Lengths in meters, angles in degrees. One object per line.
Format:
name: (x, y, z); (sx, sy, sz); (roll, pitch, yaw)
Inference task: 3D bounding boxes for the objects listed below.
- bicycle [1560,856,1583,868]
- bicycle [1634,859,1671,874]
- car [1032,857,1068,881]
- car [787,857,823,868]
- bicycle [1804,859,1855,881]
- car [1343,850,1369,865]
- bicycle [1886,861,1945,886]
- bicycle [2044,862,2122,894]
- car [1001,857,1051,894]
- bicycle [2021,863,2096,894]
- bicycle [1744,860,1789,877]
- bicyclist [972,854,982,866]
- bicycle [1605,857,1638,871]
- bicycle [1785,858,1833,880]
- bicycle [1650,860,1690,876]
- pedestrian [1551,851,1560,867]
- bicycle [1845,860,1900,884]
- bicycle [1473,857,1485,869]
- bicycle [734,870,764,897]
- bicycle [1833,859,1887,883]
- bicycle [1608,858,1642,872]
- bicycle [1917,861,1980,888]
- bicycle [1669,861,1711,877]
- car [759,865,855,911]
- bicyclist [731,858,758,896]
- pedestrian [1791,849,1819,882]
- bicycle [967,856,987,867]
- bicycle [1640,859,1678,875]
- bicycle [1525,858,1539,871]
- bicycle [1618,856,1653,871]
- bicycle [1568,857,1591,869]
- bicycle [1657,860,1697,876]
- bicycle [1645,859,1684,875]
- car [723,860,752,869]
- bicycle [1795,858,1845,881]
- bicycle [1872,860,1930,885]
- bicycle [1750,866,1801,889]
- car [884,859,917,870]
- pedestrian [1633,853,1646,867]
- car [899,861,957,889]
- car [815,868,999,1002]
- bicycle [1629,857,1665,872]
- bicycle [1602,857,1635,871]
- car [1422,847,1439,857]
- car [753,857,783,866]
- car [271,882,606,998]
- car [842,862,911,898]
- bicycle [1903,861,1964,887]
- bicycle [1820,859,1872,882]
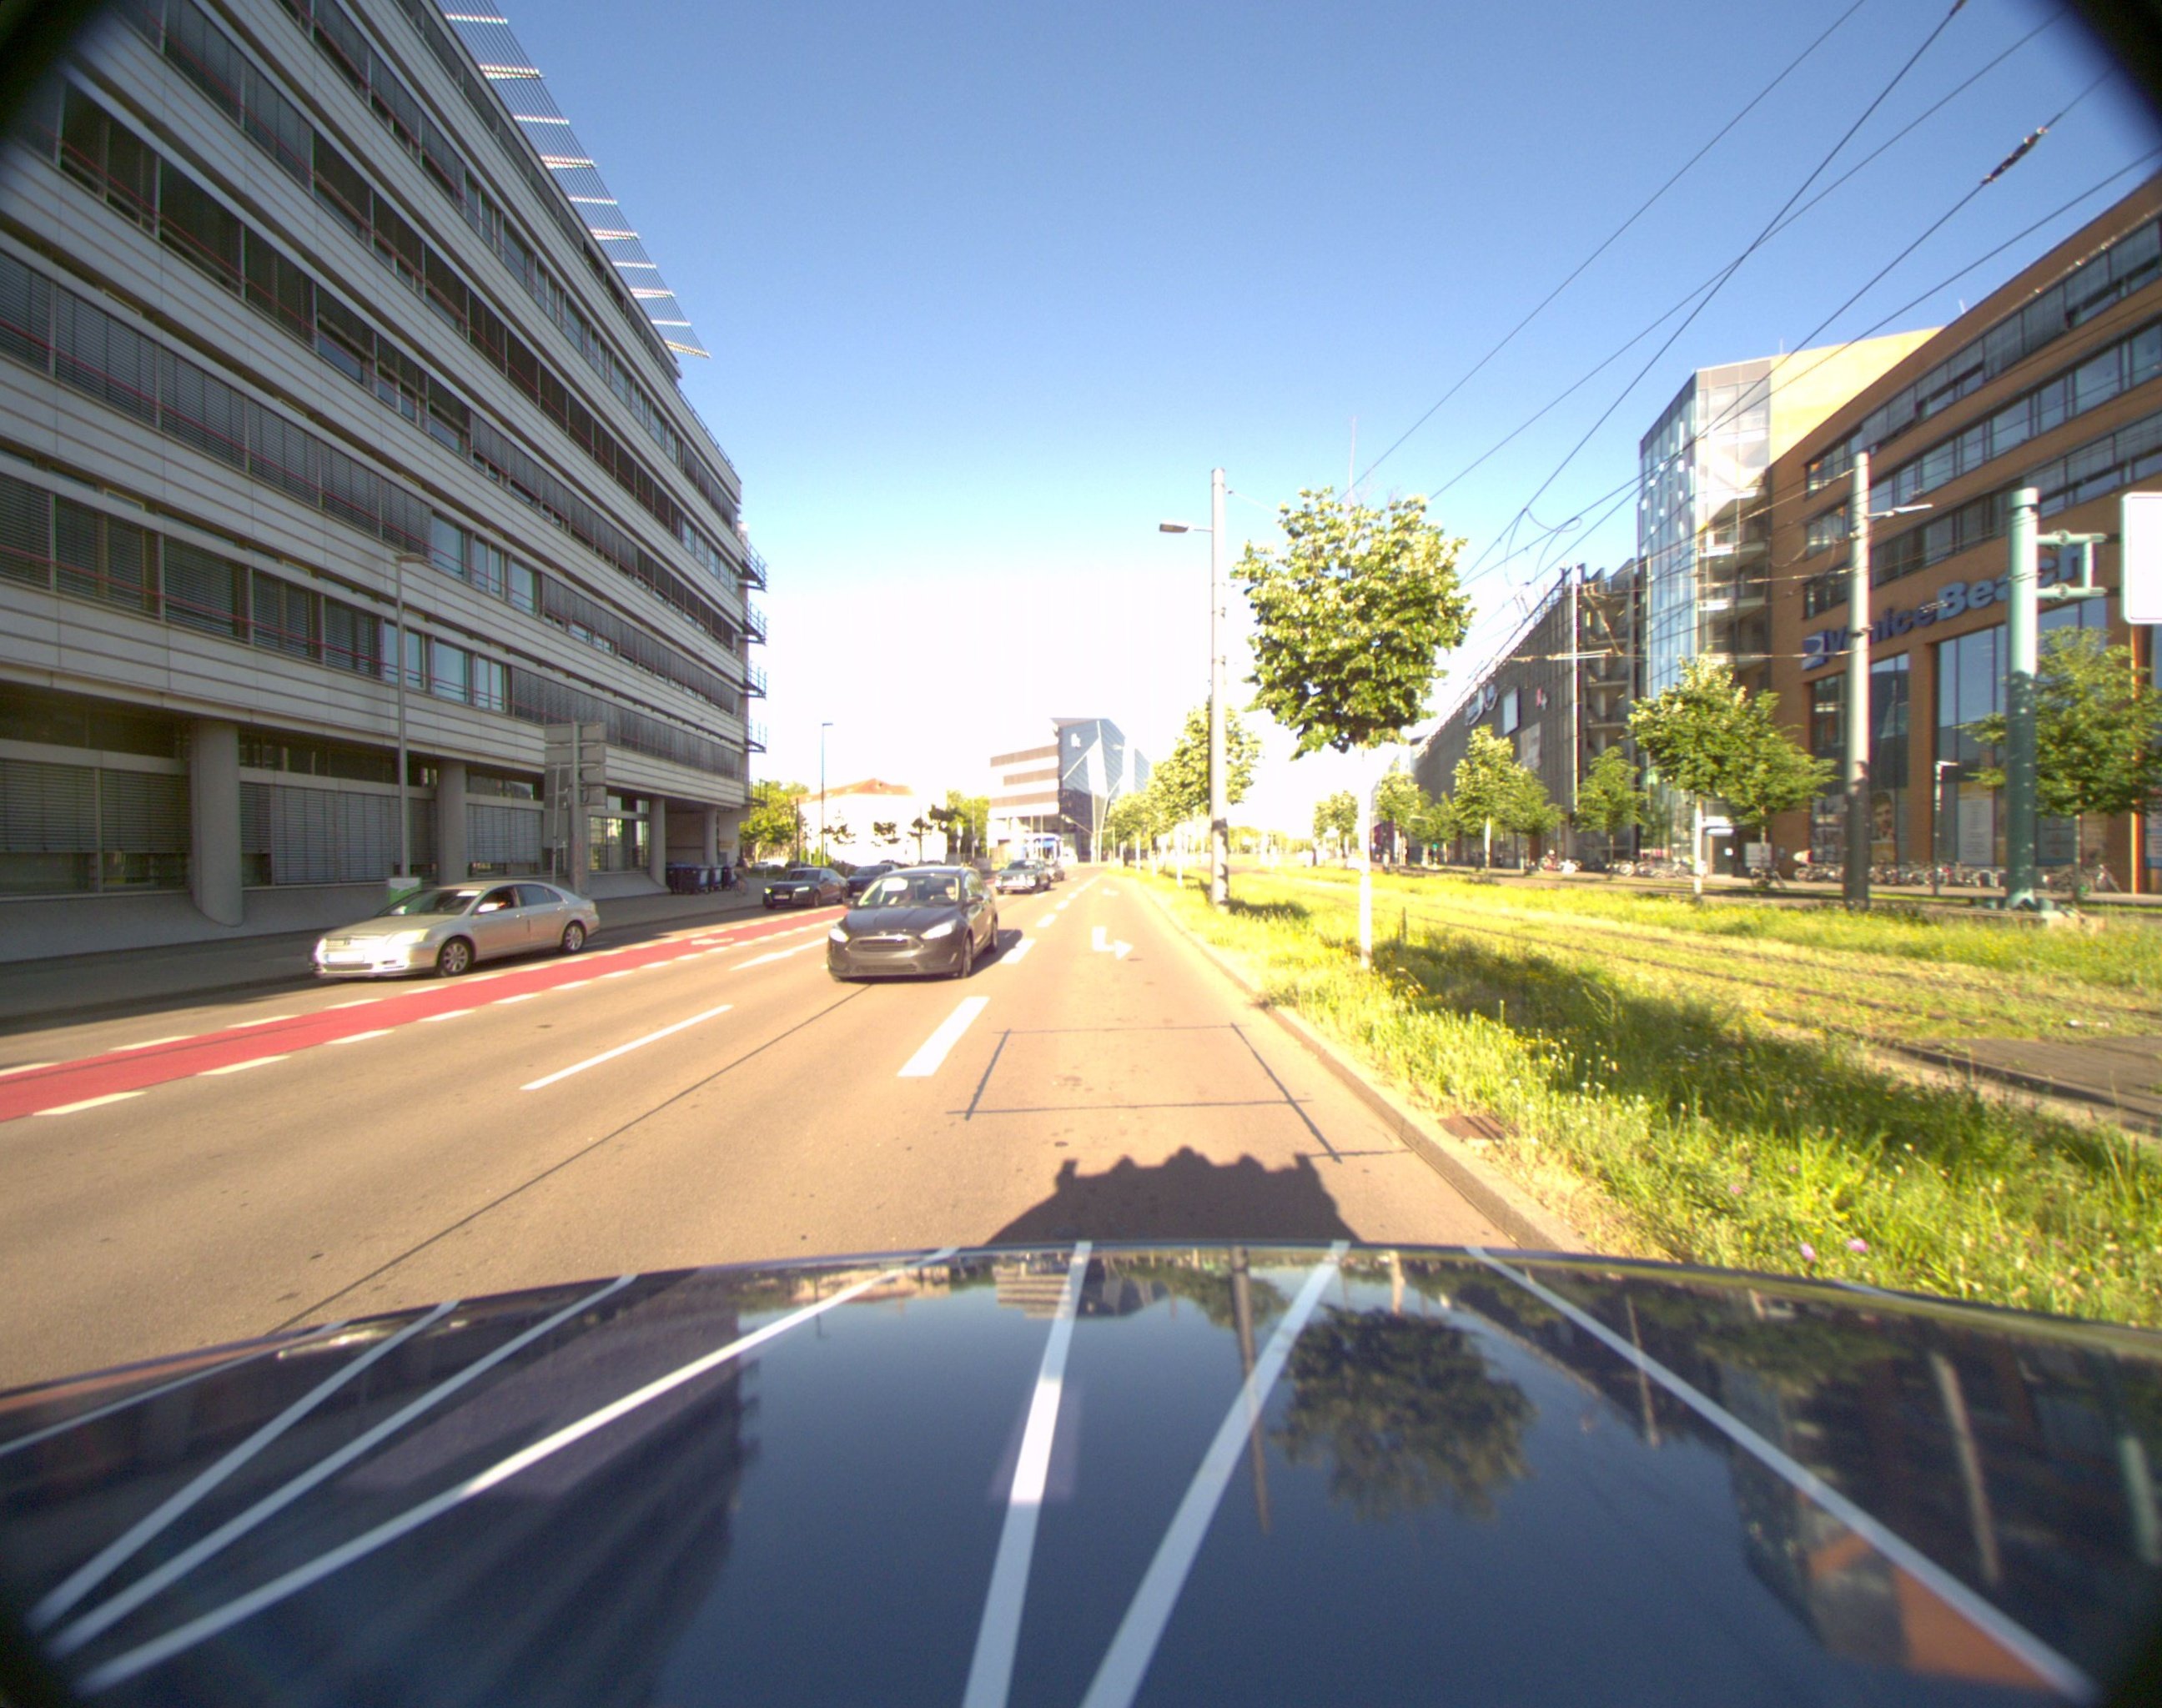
bicycle: (37.830, 0.641, 58.630); (1.398, 0.921, 0.462); (-1, 1, 17)
bicycle: (35.404, 0.779, 47.070); (1.768, 0.921, 0.565); (-1, 1, 17)
car: (-1.964, 0.936, 49.003); (1.619, 1.421, 3.769); (-2, 1, 7)
car: (-39.813, 1.201, 109.475); (4.516, 1.414, 2.002); (-1, 1, 17)
bicycle: (35.646, 0.755, 36.185); (1.769, 1.043, 0.491); (-1, 1, 8)
car: (25.776, 0.332, 71.378); (1.809, 1.320, 4.409); (0, 1, 13)
bicycle: (35.099, 0.809, 31.971); (1.769, 1.043, 0.491); (-1, 1, 8)
bicycle: (34.021, 0.822, 25.811); (1.769, 1.043, 0.491); (-1, 1, 8)
car: (-2.376, 0.924, 33.690); (1.749, 1.496, 3.881); (-1, 0, 3)
bicycle: (34.064, 0.848, 26.491); (1.769, 1.043, 0.491); (-1, 1, 8)
bicycle: (37.407, 0.802, 41.467); (1.768, 0.921, 0.565); (-1, 1, 17)
bicyclist: (-13.388, 0.789, 97.837); (1.006, 1.598, 0.880); (-1, 1, 14)
bicycle: (36.662, 0.697, 51.575); (1.768, 0.921, 0.491); (-1, 1, 17)
bicycle: (35.868, 0.737, 37.439); (1.769, 1.043, 0.491); (-1, 1, 8)
bicycle: (34.844, 0.816, 44.955); (1.768, 0.921, 0.565); (-1, 1, 17)
pedestrian: (38.342, 0.372, 61.450); (0.448, 1.282, 0.630); (-1, 1, 13)
bicycle: (35.375, 0.783, 33.953); (1.769, 1.043, 0.491); (-1, 1, 8)
bicycle: (31.533, 0.688, 60.244); (0.386, 0.918, 1.773); (-1, 1, 13)
bicycle: (-14.560, 1.273, 33.329); (0.505, 1.052, 1.702); (2, 1, 2)
bicycle: (35.499, 0.773, 34.646); (1.769, 1.043, 0.491); (-1, 1, 8)
bicycle: (36.473, 0.709, 50.936); (1.768, 0.921, 0.565); (-1, 1, 17)
bicycle: (34.926, 0.827, 30.590); (1.769, 1.043, 0.491); (-1, 1, 8)
bicycle: (34.507, 0.844, 43.076); (1.768, 0.921, 0.565); (-1, 1, 17)
car: (-9.773, 1.182, 27.451); (1.714, 1.432, 4.113); (-3, -1, 3)
bicyclist: (-14.676, 1.003, 33.134); (0.685, 1.609, 0.991); (-1, 1, 2)
pedestrian: (36.202, 0.571, 37.998); (0.746, 1.659, 0.676); (-1, 1, 7)
bicycle: (-13.373, 0.947, 97.821); (2.368, 1.304, 0.952); (-1, 1, 13)
bicycle: (35.239, 0.791, 46.348); (1.768, 0.921, 0.565); (-1, 1, 17)
bicycle: (32.615, 0.741, 54.964); (0.386, 0.863, 1.773); (-1, 1, 13)
bicycle: (36.273, 0.615, 49.726); (1.768, 0.921, 0.491); (-1, 1, 17)
bicycle: (37.552, 0.662, 57.215); (1.398, 0.921, 0.462); (-1, 1, 17)
bicycle: (34.645, 0.830, 44.177); (1.768, 0.921, 0.565); (-1, 1, 17)
bicycle: (35.067, 0.802, 45.701); (1.768, 0.921, 0.565); (-1, 1, 17)
car: (-52.059, 1.631, 115.168); (3.990, 1.368, 1.938); (-1, 1, 27)
bicycle: (35.764, 0.746, 36.784); (1.769, 1.043, 0.491); (-1, 1, 8)
bicycle: (35.209, 0.800, 32.645); (1.769, 1.043, 0.491); (-1, 1, 8)
bicycle: (28.102, 0.933, 30.784); (0.464, 0.863, 1.771); (-1, 1, 1)
car: (-24.738, 1.429, 104.304); (3.991, 1.414, 2.003); (-1, 1, 20)
pedestrian: (40.692, 0.442, 55.395); (0.629, 1.048, 0.450); (-1, 1, 13)
car: (-8.150, 1.117, 40.783); (1.437, 1.437, 4.005); (1, -1, 13)
car: (-2.288, 0.996, 11.083); (1.690, 1.425, 4.152); (-2, 0, 0)
bicycle: (35.966, 0.693, 48.326); (1.768, 0.921, 0.491); (-1, 1, 17)
bicycle: (36.869, 0.684, 52.151); (1.768, 0.921, 0.491); (-1, 1, 17)
car: (54.156, -0.332, 117.899); (1.582, 1.521, 3.754); (-2, 1, 13)
car: (-46.343, 1.106, 112.542); (3.990, 1.237, 2.003); (-1, 1, 26)
car: (-10.470, 1.299, 12.965); (1.755, 1.423, 4.489); (-1, 0, 3)
car: (-9.242, 1.142, 34.662); (1.735, 1.437, 4.001); (0, 0, 5)
bicycle: (35.033, 0.817, 31.252); (1.769, 1.043, 0.491); (-1, 1, 8)
bicycle: (35.559, 0.765, 35.332); (1.769, 1.043, 0.491); (-1, 1, 8)
